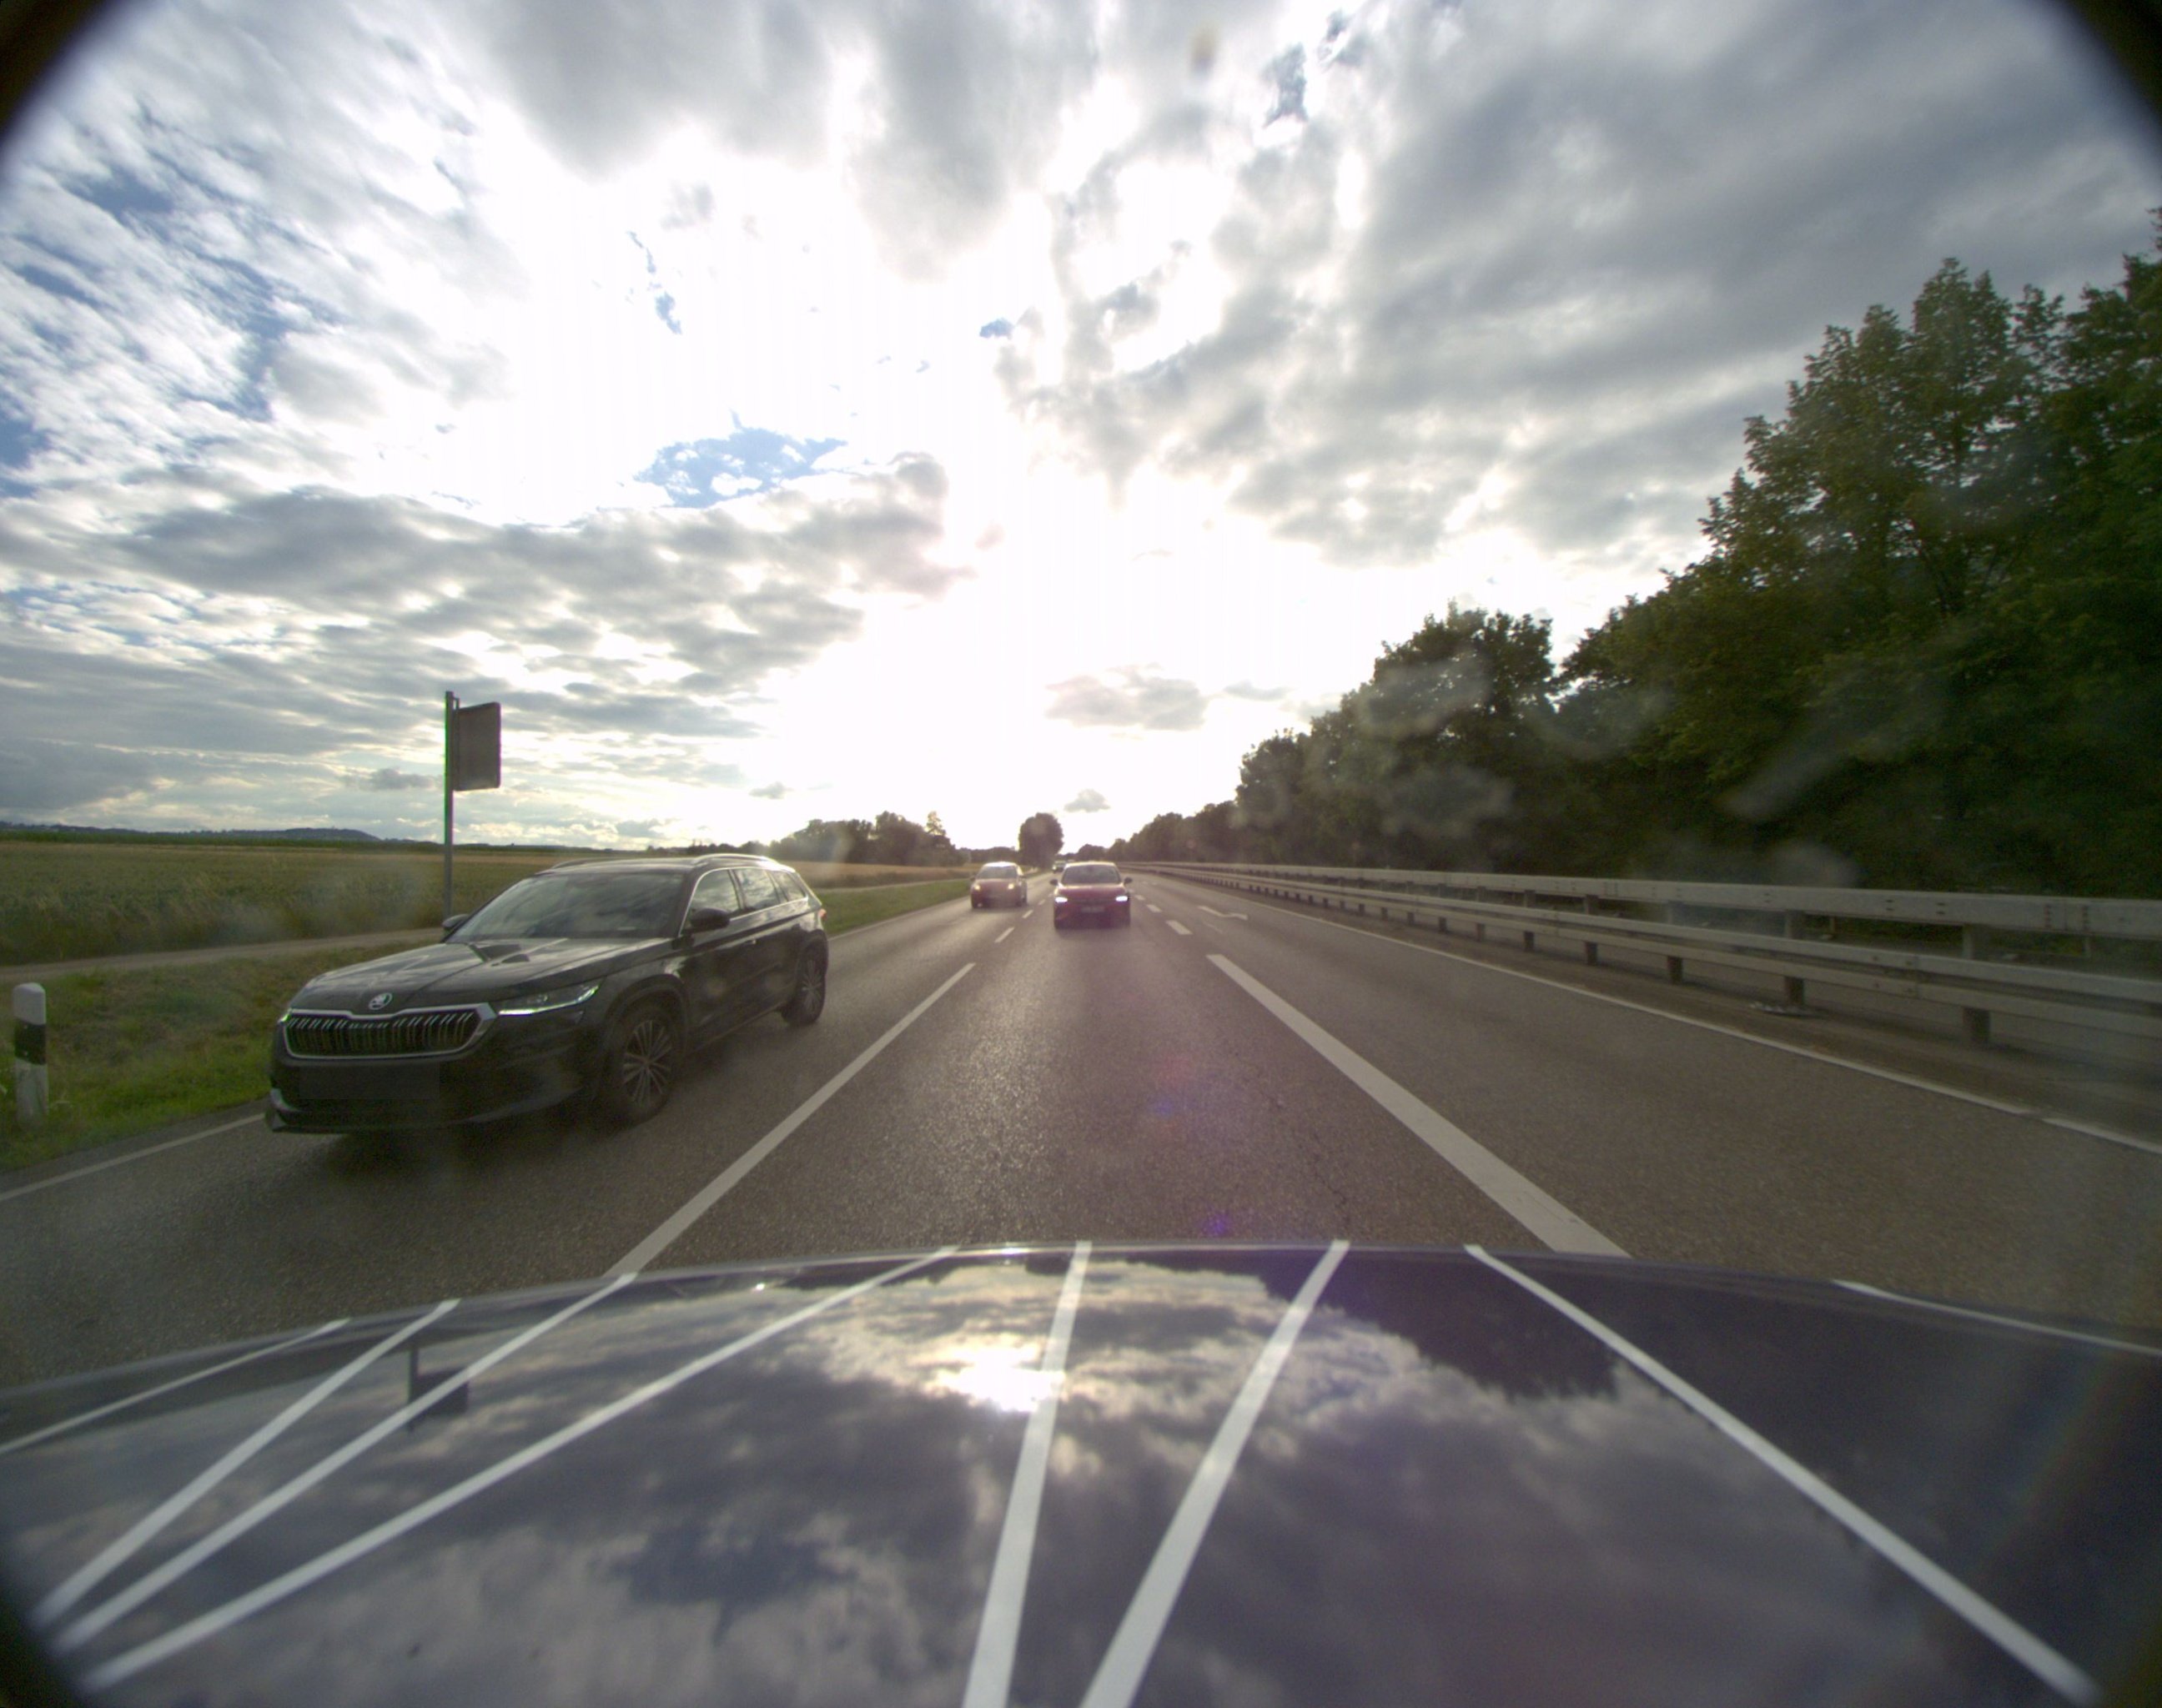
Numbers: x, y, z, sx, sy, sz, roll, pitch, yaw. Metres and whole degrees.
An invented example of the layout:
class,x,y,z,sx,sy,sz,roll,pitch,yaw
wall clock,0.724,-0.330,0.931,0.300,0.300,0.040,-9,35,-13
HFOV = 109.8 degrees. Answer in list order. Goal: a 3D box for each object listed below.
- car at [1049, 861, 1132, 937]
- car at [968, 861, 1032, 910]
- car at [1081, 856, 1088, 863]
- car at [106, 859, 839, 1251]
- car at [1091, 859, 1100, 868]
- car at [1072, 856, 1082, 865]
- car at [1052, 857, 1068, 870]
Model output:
class,x,y,z,sx,sy,sz,roll,pitch,yaw
car,0.227,0.973,18.119,1.712,1.448,4.061,-2,1,1
car,-2.756,1.036,26.666,1.712,1.448,3.908,-2,1,1
car,0.965,1.436,205.814,1.671,1.730,4.032,-2,0,1
car,-3.570,0.962,5.835,1.841,1.698,4.556,-2,1,1
car,2.781,1.836,144.939,1.712,1.448,4.061,-2,1,1
car,-0.757,1.234,145.021,1.671,1.730,4.032,-2,0,1
car,-2.540,1.190,92.618,1.799,1.448,4.032,-2,0,1
